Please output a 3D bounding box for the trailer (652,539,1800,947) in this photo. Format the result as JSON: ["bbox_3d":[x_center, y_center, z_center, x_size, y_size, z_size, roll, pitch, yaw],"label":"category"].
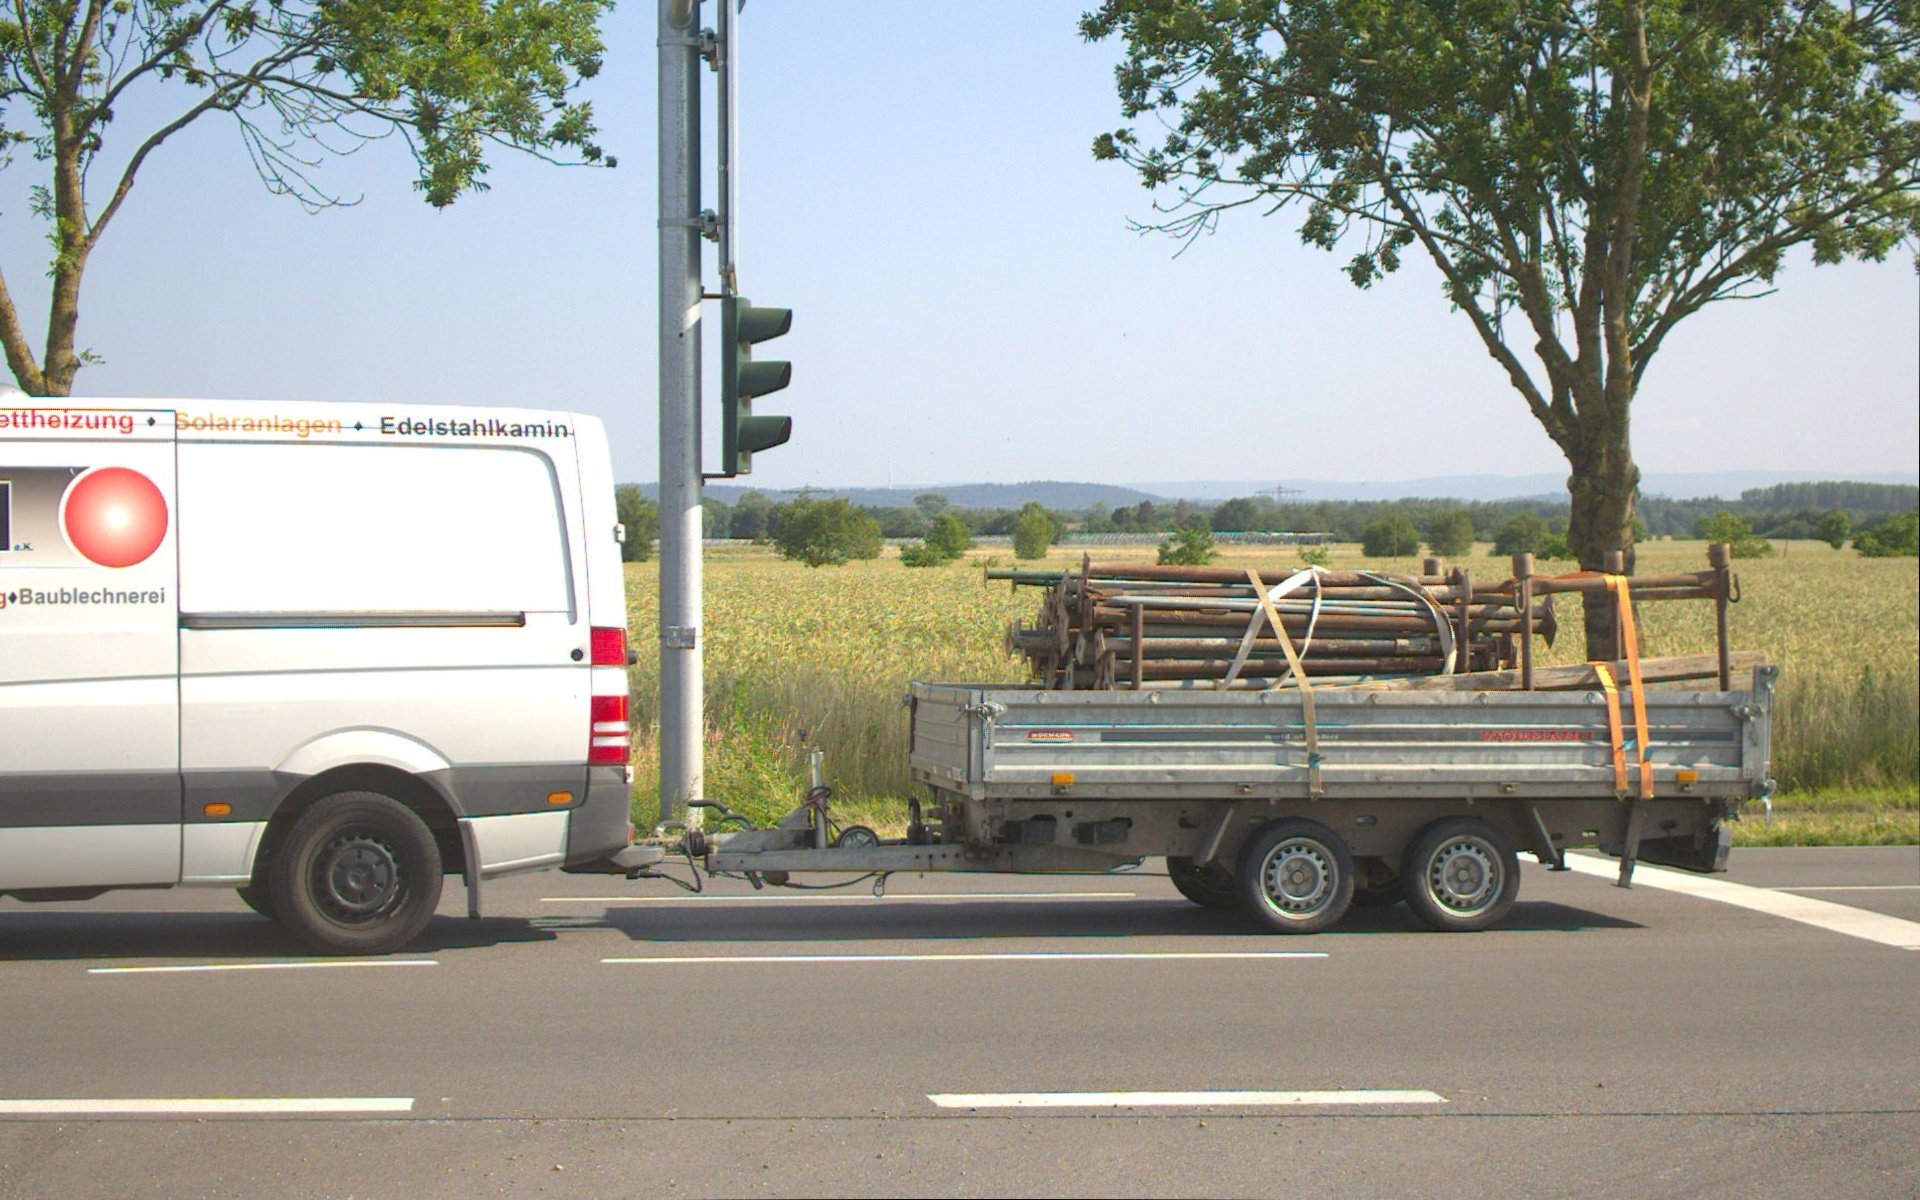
[{"bbox_3d":[1.132,0.614,15.960,4.994,1.732,1.981,0,0,-9],"label":"trailer"}]

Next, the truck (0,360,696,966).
[{"bbox_3d":[-4.371,0.249,14.501,6.176,2.396,2.072,0,0,-18],"label":"truck"}]
